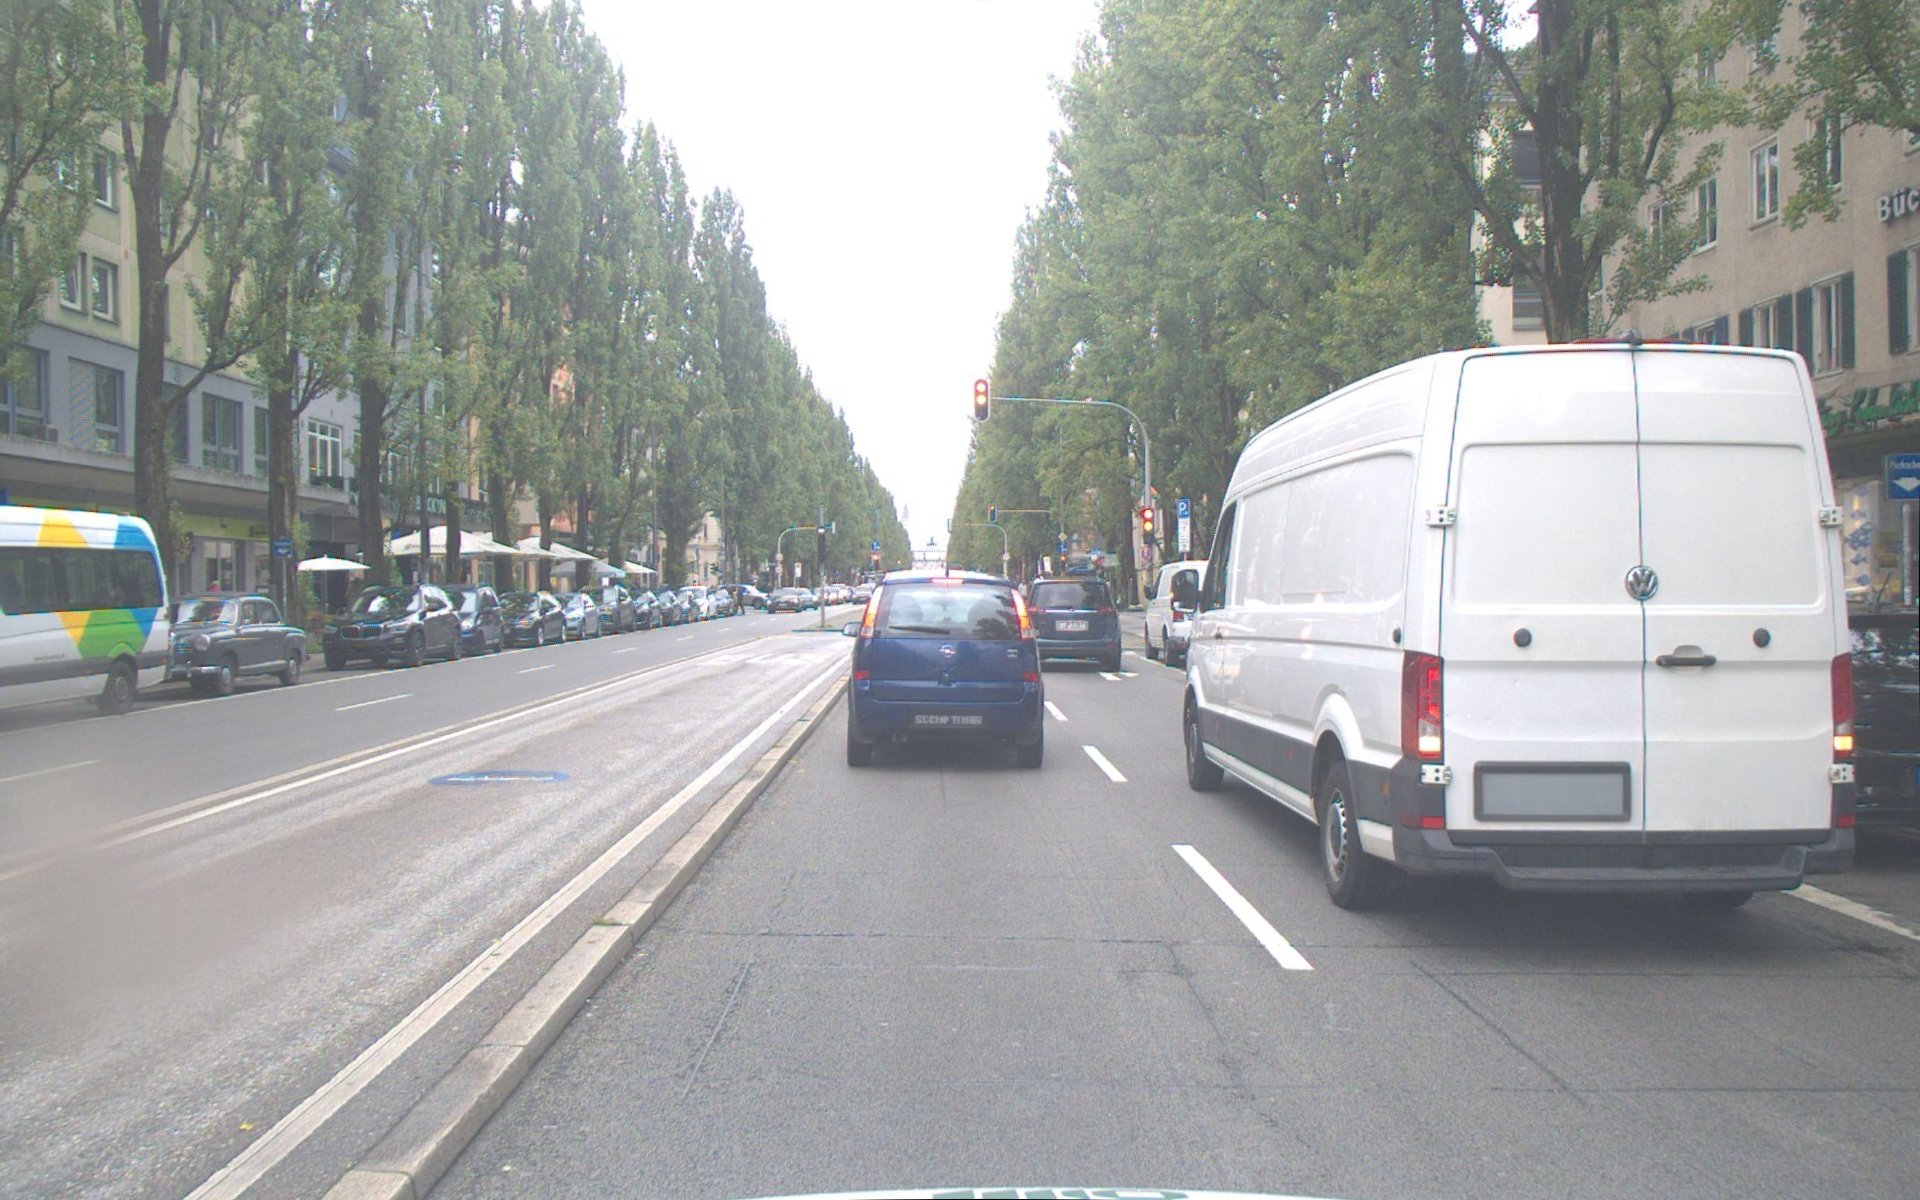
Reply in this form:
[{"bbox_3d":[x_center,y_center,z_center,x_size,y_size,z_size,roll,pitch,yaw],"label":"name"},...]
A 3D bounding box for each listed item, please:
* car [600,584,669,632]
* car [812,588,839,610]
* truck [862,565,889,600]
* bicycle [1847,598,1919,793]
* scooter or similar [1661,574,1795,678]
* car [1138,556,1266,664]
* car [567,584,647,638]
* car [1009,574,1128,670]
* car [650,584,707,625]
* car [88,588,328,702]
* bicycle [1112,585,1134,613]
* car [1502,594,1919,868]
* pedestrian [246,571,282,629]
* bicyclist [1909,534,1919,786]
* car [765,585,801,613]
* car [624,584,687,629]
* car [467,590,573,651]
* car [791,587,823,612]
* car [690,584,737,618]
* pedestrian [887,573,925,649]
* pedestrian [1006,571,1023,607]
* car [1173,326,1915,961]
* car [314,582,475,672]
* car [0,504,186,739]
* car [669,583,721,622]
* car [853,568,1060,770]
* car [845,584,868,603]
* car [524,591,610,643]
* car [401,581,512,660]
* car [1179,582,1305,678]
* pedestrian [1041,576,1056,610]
[{"bbox_3d":[-12.335,0.270,62.938,1.828,1.694,4.119,-2,1,-1],"label":"car"},{"bbox_3d":[-10.432,-0.103,128.449,1.828,1.695,4.119,-1,0,-1],"label":"car"},{"bbox_3d":[-8.290,-1.719,162.681,2.334,3.405,7.109,-1,0,-1],"label":"truck"},{"bbox_3d":[7.205,0.683,11.457,0.757,1.372,2.449,-1,0,-1],"label":"bicycle"},{"bbox_3d":[11.224,0.337,24.276,0.624,1.400,2.493,-2,2,-5],"label":"scooter or similar"},{"bbox_3d":[4.704,0.166,32.767,1.751,1.980,4.729,0,1,-1],"label":"car"},{"bbox_3d":[-12.115,0.336,57.000,1.828,1.694,4.400,-2,1,-1],"label":"car"},{"bbox_3d":[1.923,0.359,30.356,1.858,1.650,3.999,0,1,-1],"label":"car"},{"bbox_3d":[-12.492,0.172,73.523,1.828,1.694,4.119,-2,1,-1],"label":"car"},{"bbox_3d":[-11.890,0.644,26.501,1.828,1.579,4.413,-2,1,-1],"label":"car"},{"bbox_3d":[8.241,-0.051,83.689,0.757,1.372,2.449,-1,0,-1],"label":"bicycle"},{"bbox_3d":[5.278,0.680,10.908,1.676,1.418,4.339,0,0,-5],"label":"car"},{"bbox_3d":[-20.712,0.004,49.209,0.741,1.715,0.675,-1,-1,0],"label":"pedestrian"},{"bbox_3d":[7.210,0.426,11.451,0.752,1.797,0.885,-1,0,-2],"label":"bicyclist"},{"bbox_3d":[-10.345,-0.087,96.820,1.663,1.488,4.712,-2,1,-1],"label":"car"},{"bbox_3d":[-12.491,0.231,67.996,1.828,1.694,4.119,-2,1,-1],"label":"car"},{"bbox_3d":[-12.044,0.522,45.534,1.762,1.514,4.349,-2,1,-1],"label":"car"},{"bbox_3d":[-9.776,-0.056,105.933,1.710,1.459,4.129,-2,1,-1],"label":"car"},{"bbox_3d":[-12.792,0.026,86.054,1.828,1.694,4.119,-2,1,-1],"label":"car"},{"bbox_3d":[-1.234,0.247,37.600,0.843,1.714,0.626,-1,0,-4],"label":"pedestrian"},{"bbox_3d":[2.850,-0.586,86.821,0.707,1.859,0.885,1,0,-11],"label":"pedestrian"},{"bbox_3d":[2.777,0.140,9.987,2.021,2.536,6.729,0,1,-1],"label":"car"},{"bbox_3d":[-11.835,0.509,34.939,1.828,1.693,4.610,-2,1,-1],"label":"car"},{"bbox_3d":[-11.674,0.258,19.405,1.965,2.612,6.910,-2,1,-1],"label":"car"},{"bbox_3d":[-12.573,0.098,78.783,1.828,1.694,4.119,-2,1,-1],"label":"car"},{"bbox_3d":[-0.057,0.527,15.128,1.637,1.596,3.999,0,1,-1],"label":"car"},{"bbox_3d":[-8.318,-0.501,133.184,1.699,1.491,3.364,-1,0,-1],"label":"car"},{"bbox_3d":[-12.117,0.507,51.193,1.698,1.450,4.142,-2,1,-1],"label":"car"},{"bbox_3d":[-12.168,0.464,40.208,1.676,1.751,3.919,-2,1,-4],"label":"car"},{"bbox_3d":[4.704,0.467,27.962,1.509,1.518,3.523,0,0,0],"label":"car"},{"bbox_3d":[4.887,-0.367,91.779,0.625,1.859,0.885,1,0,-11],"label":"pedestrian"}]
